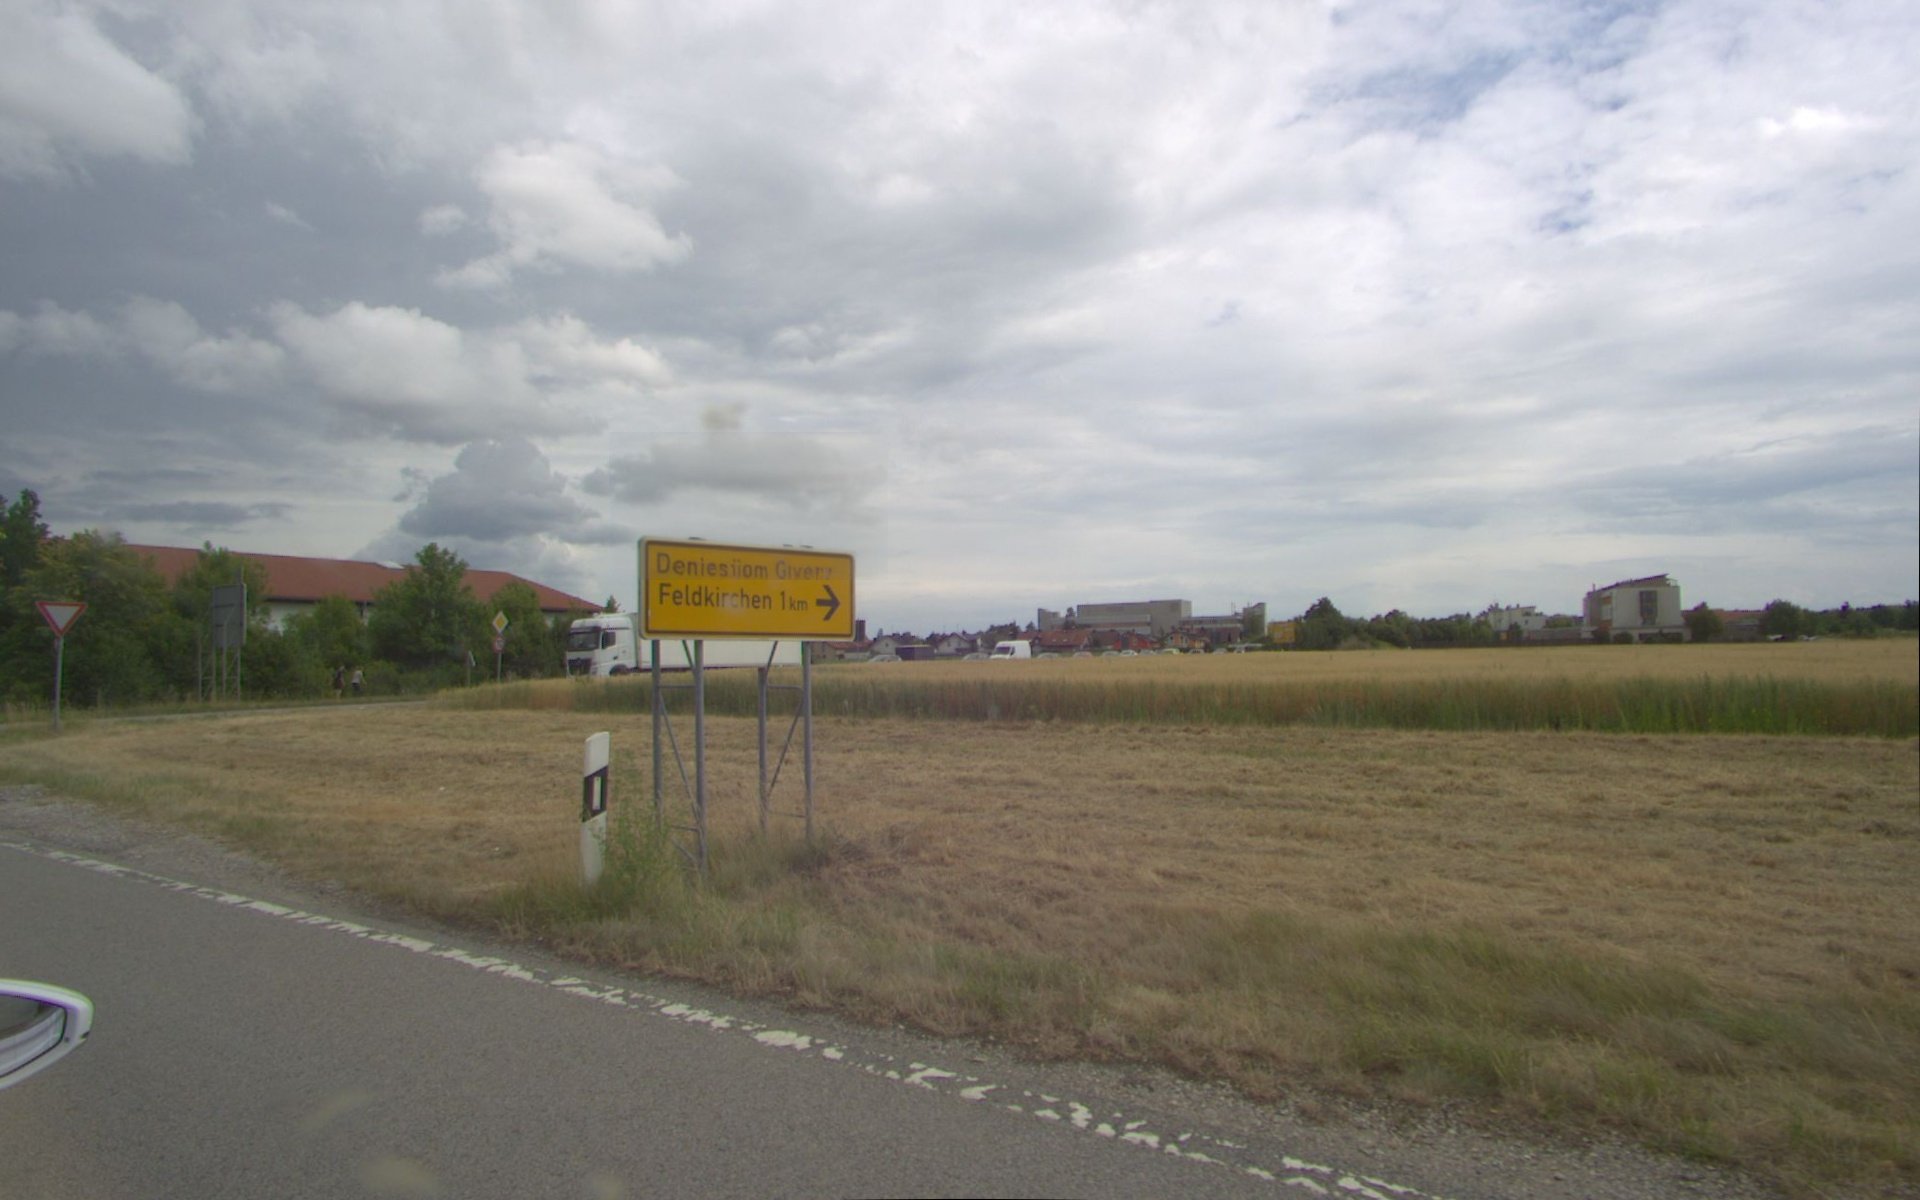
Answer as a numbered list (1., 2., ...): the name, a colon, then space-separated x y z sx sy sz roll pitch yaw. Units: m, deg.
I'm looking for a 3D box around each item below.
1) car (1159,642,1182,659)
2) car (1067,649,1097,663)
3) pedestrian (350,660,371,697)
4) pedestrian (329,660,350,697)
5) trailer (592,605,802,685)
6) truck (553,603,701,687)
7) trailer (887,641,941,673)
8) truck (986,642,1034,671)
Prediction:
1. car: 25.804 6.212 122.668 1.967 1.914 3.988 -1 -1 25
2. car: 13.260 6.069 108.683 1.828 1.485 3.985 -2 -3 28
3. pedestrian: -27.746 3.624 46.343 0.521 1.704 0.626 -1 -1 24
4. pedestrian: -28.998 3.657 46.807 0.521 1.704 0.626 -1 -1 24
5. trailer: -14.760 2.660 58.300 3.083 4.062 13.834 -4 -4 29
6. truck: -17.512 2.444 53.187 3.083 4.063 7.280 -4 -4 29
7. trailer: -3.587 4.452 78.441 2.379 2.320 4.382 -3 -3 26
8. truck: 4.710 5.214 92.656 1.970 2.606 5.994 -4 -4 29
